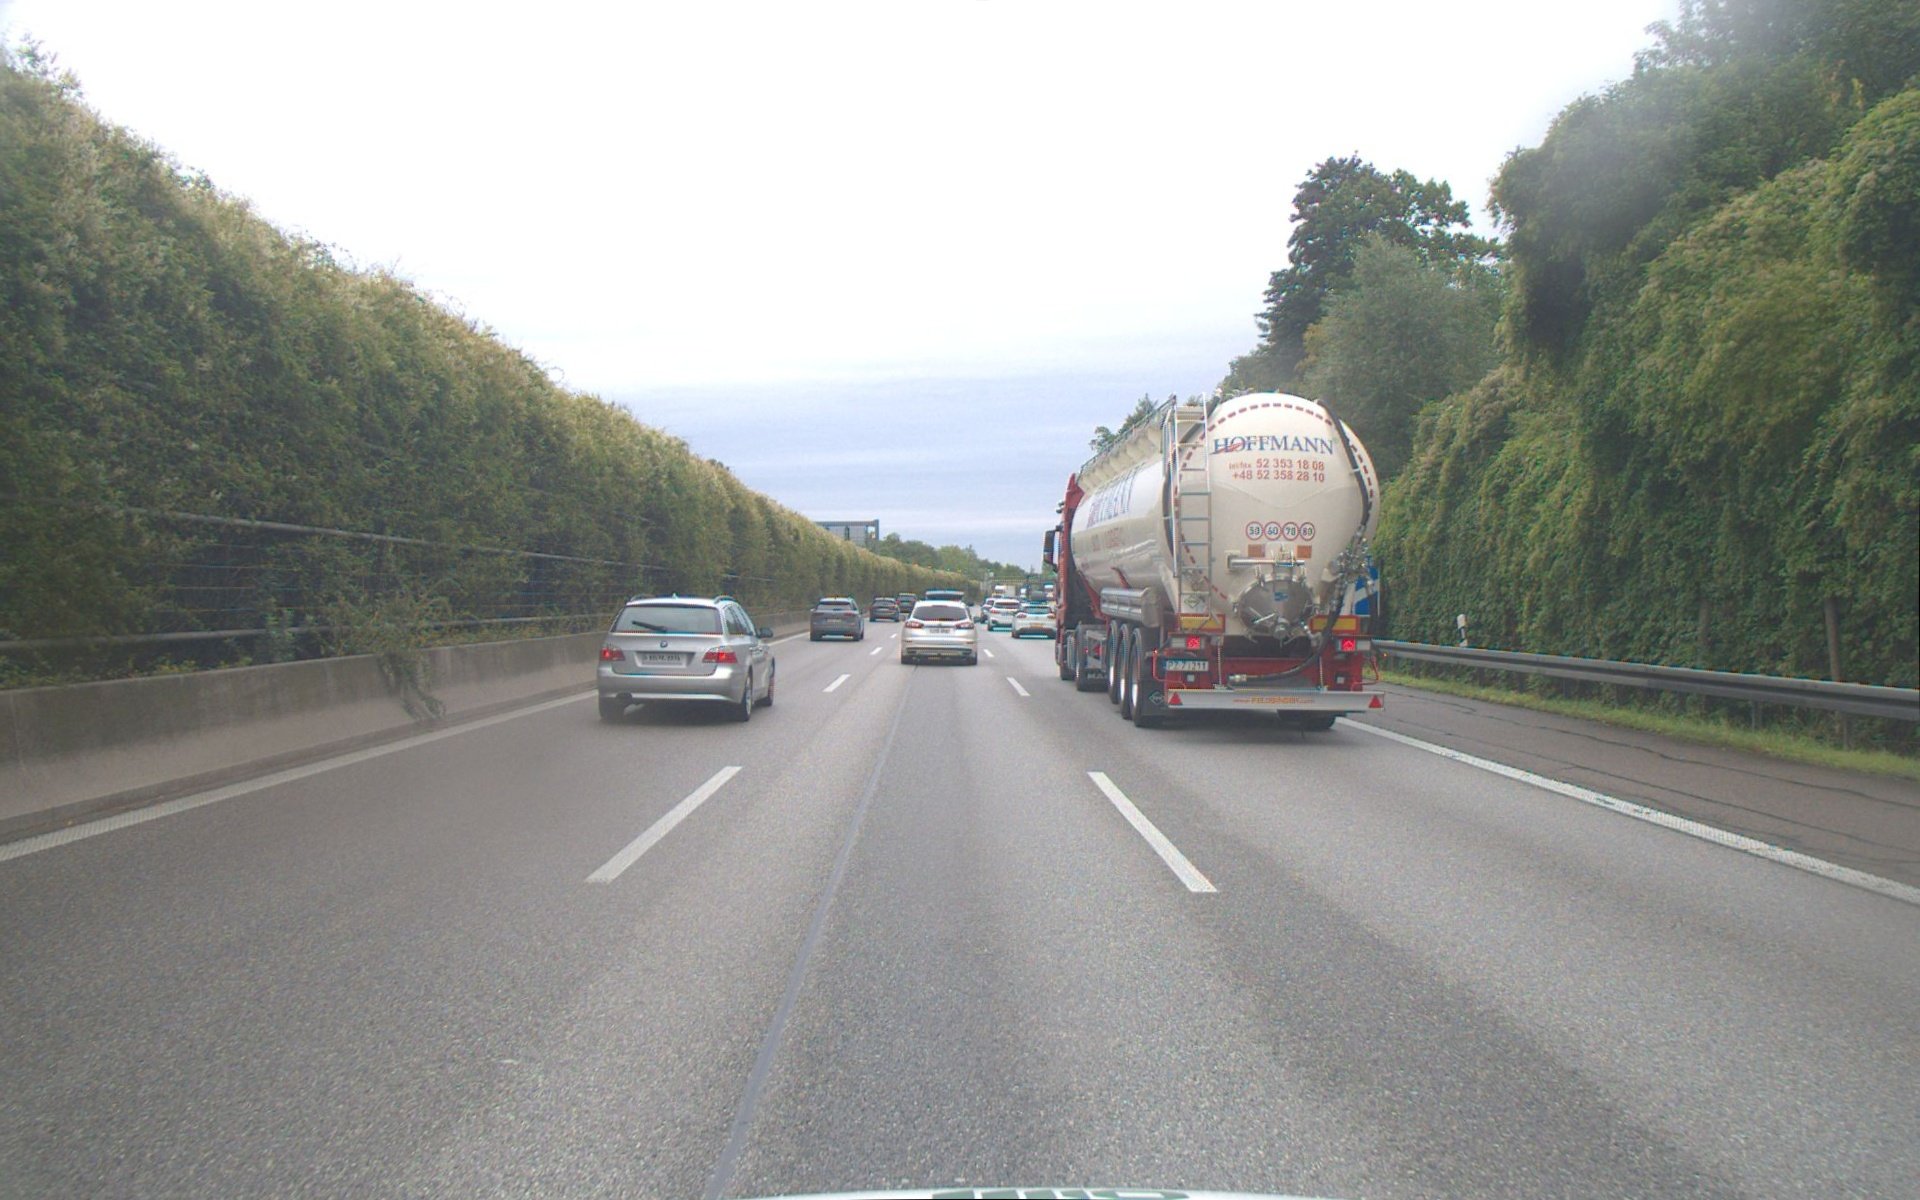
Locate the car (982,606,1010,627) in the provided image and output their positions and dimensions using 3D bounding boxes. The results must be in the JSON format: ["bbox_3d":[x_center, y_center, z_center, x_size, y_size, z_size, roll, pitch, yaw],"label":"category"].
[{"bbox_3d":[2.307,1.066,107.239,1.654,1.354,3.870,1,0,-1],"label":"car"}]

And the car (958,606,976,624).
[{"bbox_3d":[0.634,1.394,154.468,1.654,1.566,3.871,1,0,0],"label":"car"}]

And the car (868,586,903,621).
[{"bbox_3d":[-4.518,0.222,101.112,1.953,2.049,3.840,1,0,-1],"label":"car"}]

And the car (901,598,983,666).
[{"bbox_3d":[-0.441,0.727,40.113,1.853,1.530,5.029,1,0,-1],"label":"car"}]

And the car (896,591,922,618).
[{"bbox_3d":[-4.084,0.360,131.875,1.953,2.049,3.999,1,0,-1],"label":"car"}]

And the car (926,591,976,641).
[{"bbox_3d":[-0.366,0.556,60.498,1.655,1.532,3.871,5,1,-1],"label":"car"}]

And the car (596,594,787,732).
[{"bbox_3d":[-3.322,0.710,21.354,1.685,1.494,5.029,1,1,-1],"label":"car"}]

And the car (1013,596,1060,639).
[{"bbox_3d":[3.070,0.692,67.207,1.778,1.654,5.031,1,0,1],"label":"car"}]

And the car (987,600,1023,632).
[{"bbox_3d":[2.228,0.810,82.552,1.654,1.533,3.870,1,0,-1],"label":"car"}]

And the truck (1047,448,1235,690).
[{"bbox_3d":[3.199,-0.498,30.874,2.640,3.981,6.555,1,0,-1],"label":"truck"}]

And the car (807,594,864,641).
[{"bbox_3d":[-4.332,0.587,58.104,1.685,1.538,5.029,1,0,-1],"label":"car"}]

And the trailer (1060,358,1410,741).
[{"bbox_3d":[3.322,-0.493,24.110,2.614,4.008,13.126,1,0,-1],"label":"trailer"}]
